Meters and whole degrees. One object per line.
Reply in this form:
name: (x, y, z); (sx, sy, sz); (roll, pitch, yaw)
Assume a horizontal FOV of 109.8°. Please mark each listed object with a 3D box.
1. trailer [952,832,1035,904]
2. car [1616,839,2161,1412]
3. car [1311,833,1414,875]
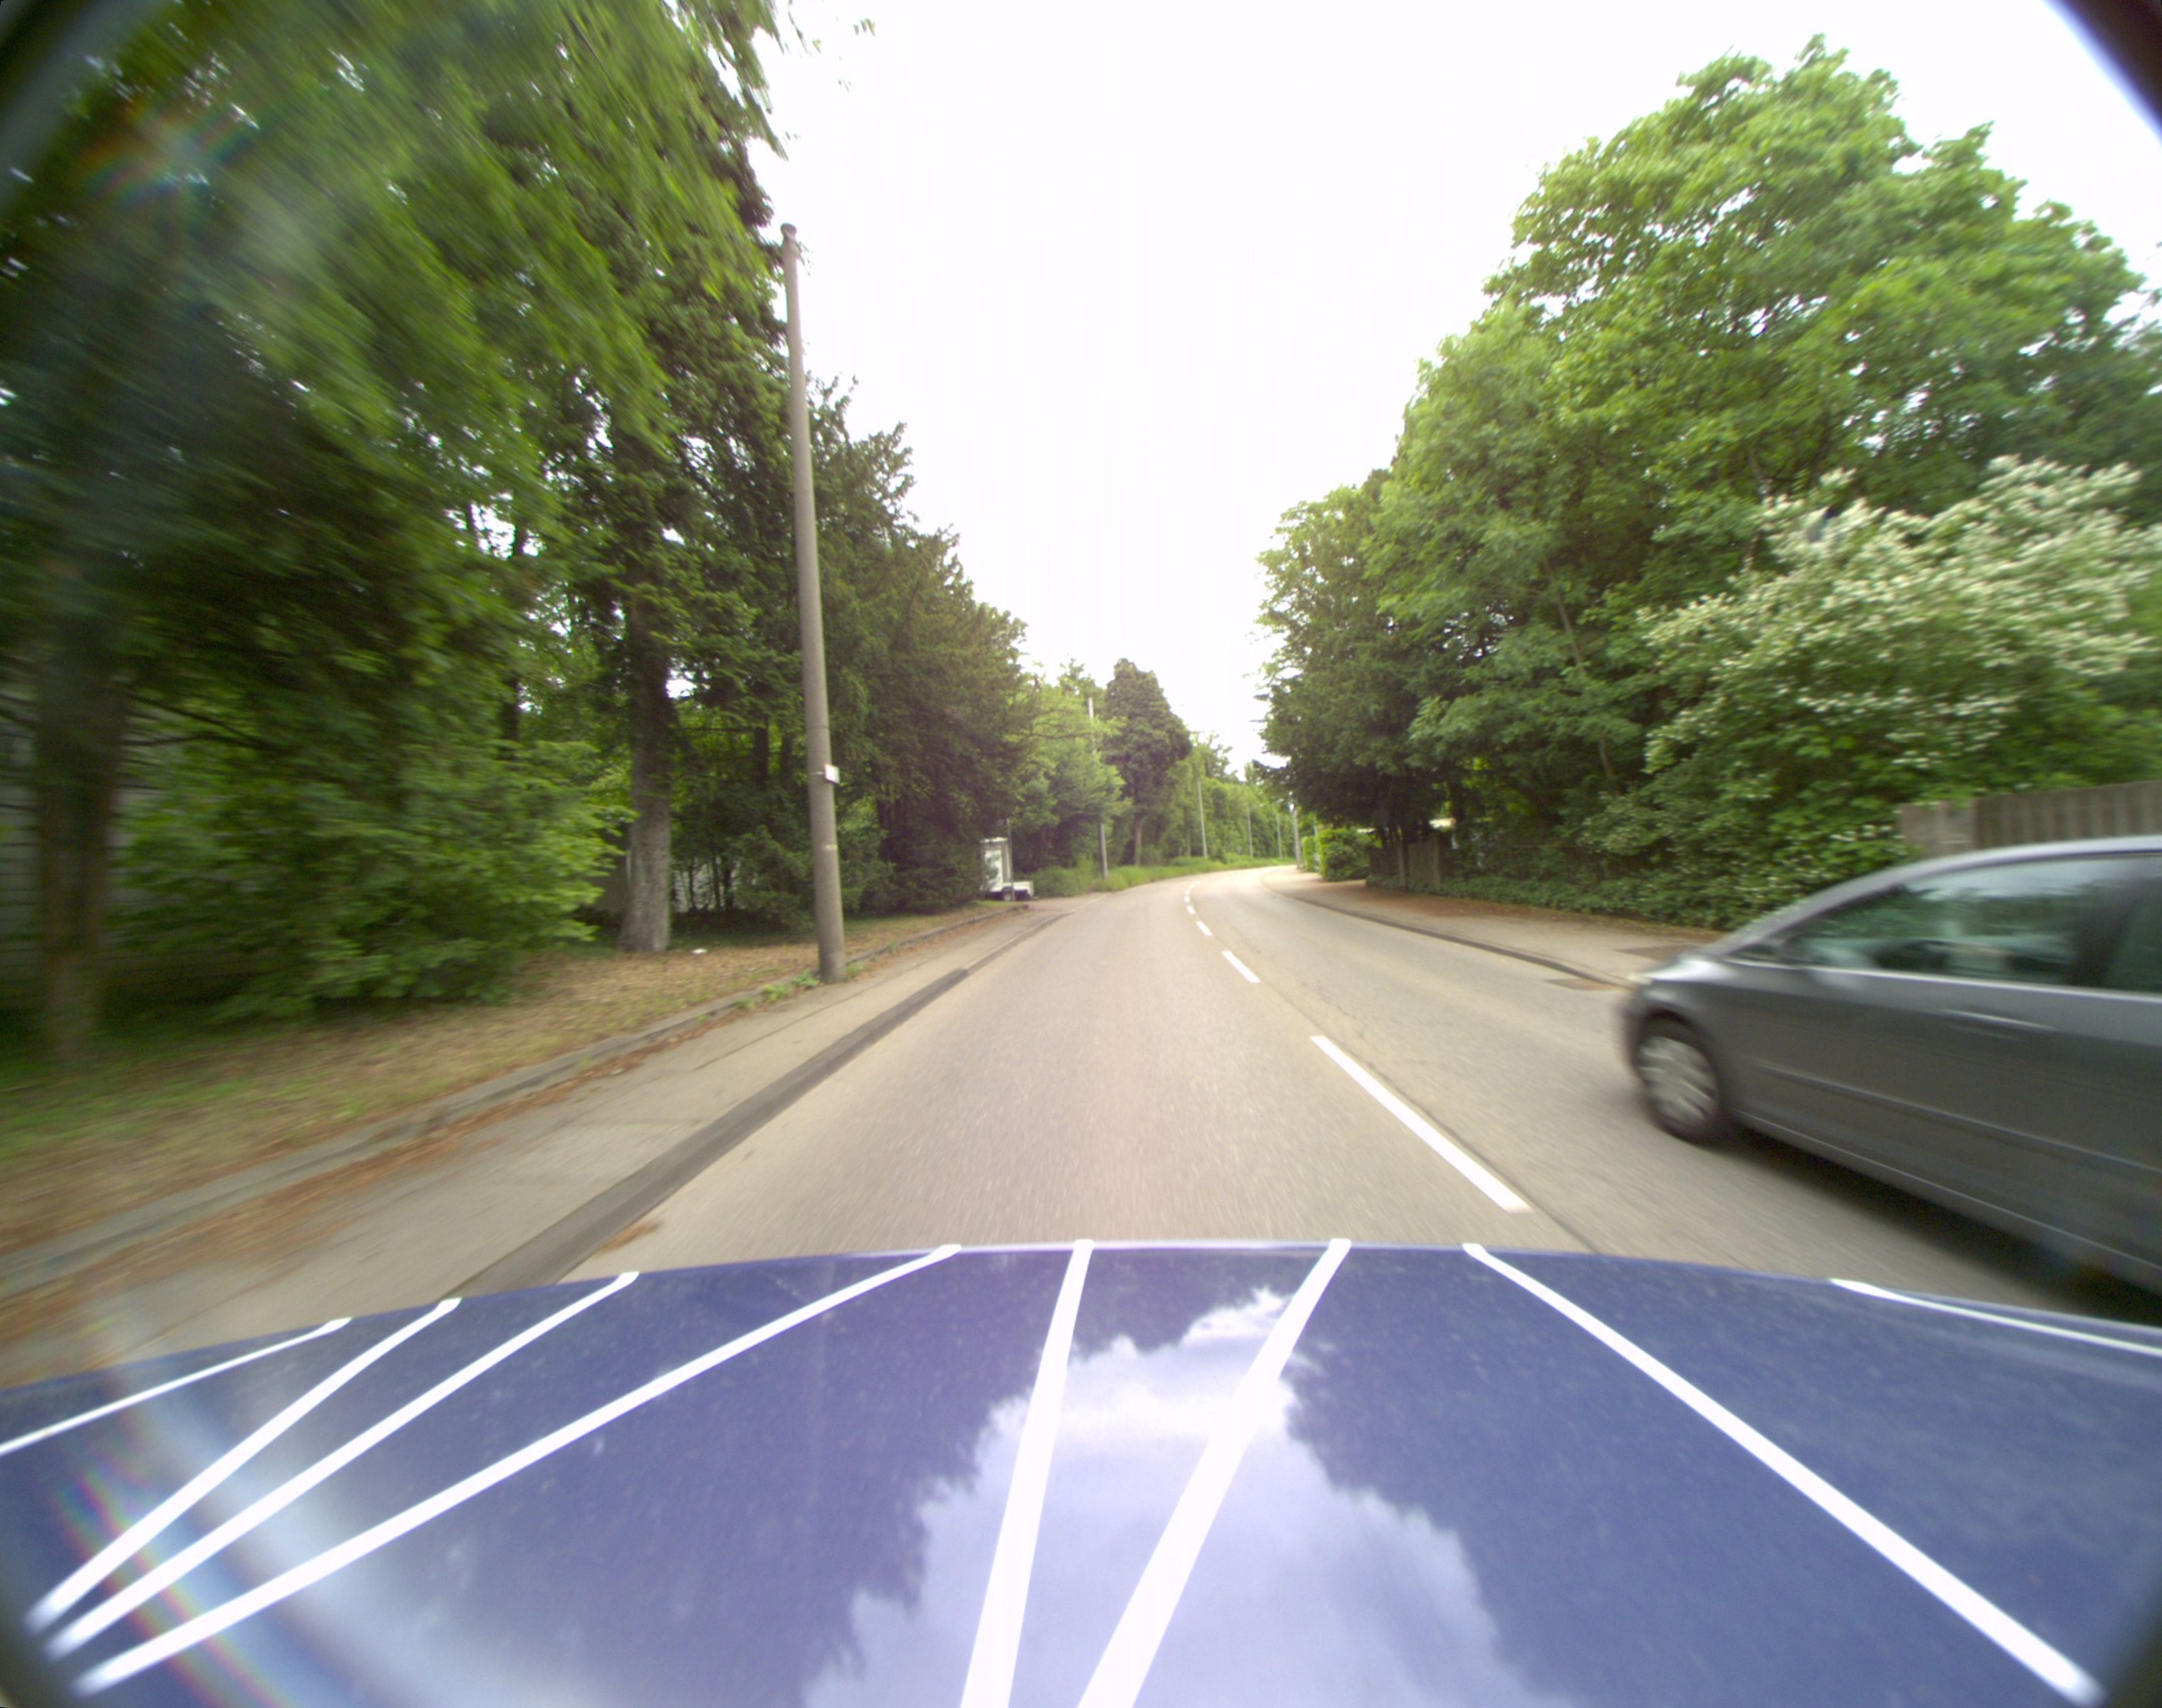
trailer: (-3.733, 0.583, 32.627); (3.123, 2.882, 1.594); (-2, 0, 6)
car: (4.020, 0.743, 2.302); (1.998, 1.608, 4.001); (-1, -1, 1)
car: (15.848, 0.074, 43.214); (2.428, 2.060, 5.353); (-3, -1, -22)
